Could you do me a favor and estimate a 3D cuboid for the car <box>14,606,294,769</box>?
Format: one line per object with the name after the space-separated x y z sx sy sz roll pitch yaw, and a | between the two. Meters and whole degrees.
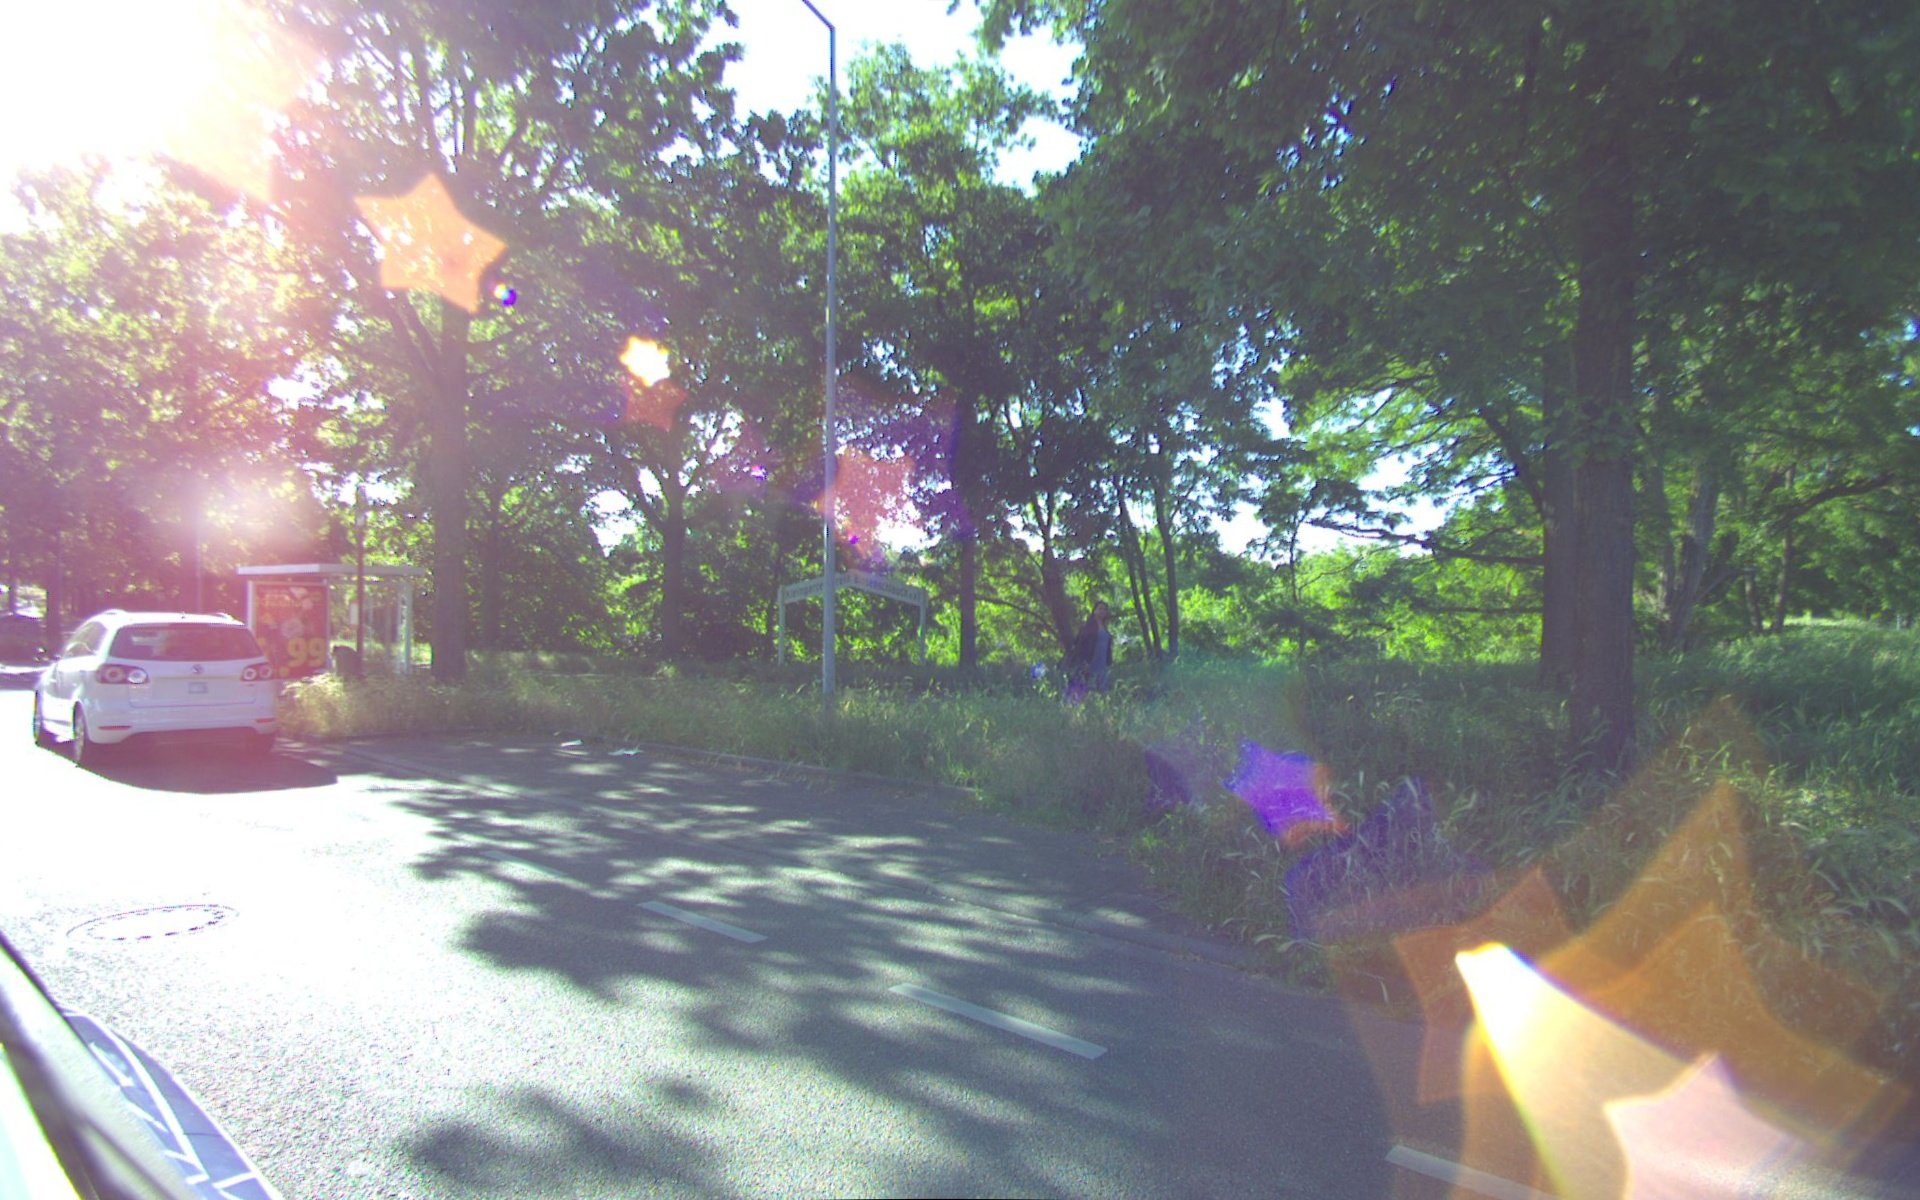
-9.465 0.923 11.777 4.117 1.575 1.734 -2 -3 40 | car

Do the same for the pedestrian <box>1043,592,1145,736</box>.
1.678 0.767 12.660 0.891 1.701 0.903 -2 -1 42 | pedestrian
